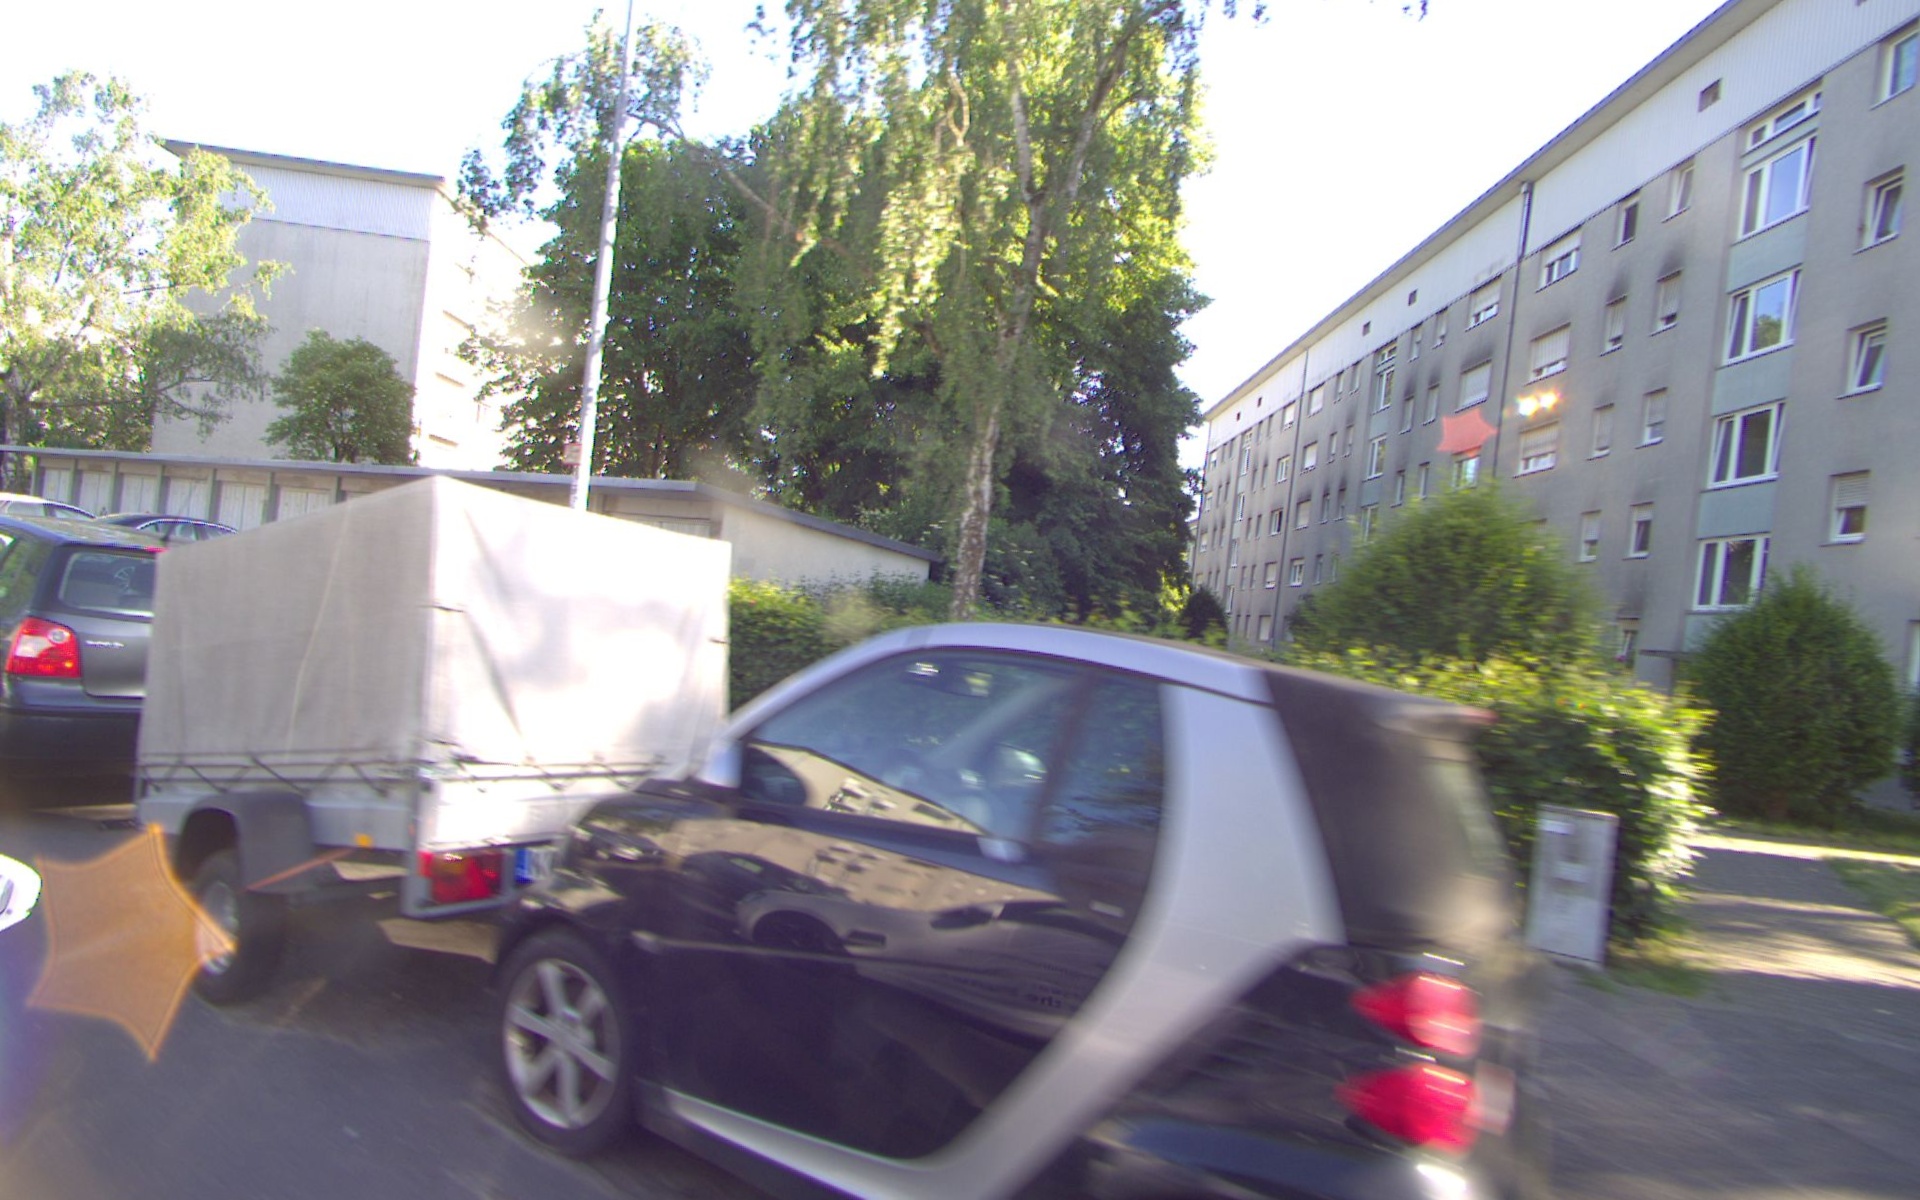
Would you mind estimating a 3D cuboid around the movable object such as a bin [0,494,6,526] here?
[{"bbox_3d":[-42.613,-4.018,43.632,1.255,1.369,1.259,7,-1,20],"label":"movable object such as a bin"}]

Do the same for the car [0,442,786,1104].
[{"bbox_3d":[-2.253,0.432,3.983,2.539,1.738,1.492,7,-2,30],"label":"car"}]

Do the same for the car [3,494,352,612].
[{"bbox_3d":[-13.730,-0.756,17.975,1.798,1.532,4.517,7,0,32],"label":"car"}]

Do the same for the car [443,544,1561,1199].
[{"bbox_3d":[0.047,0.791,2.733,2.517,1.541,1.417,6,-2,35],"label":"car"}]

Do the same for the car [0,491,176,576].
[{"bbox_3d":[-20.476,-1.542,22.345,1.798,1.532,4.420,7,0,31],"label":"car"}]

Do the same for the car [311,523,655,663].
[{"bbox_3d":[-6.433,-0.004,14.025,1.797,1.532,3.949,7,0,28],"label":"car"}]

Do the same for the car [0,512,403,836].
[{"bbox_3d":[-5.480,0.238,6.142,3.828,1.419,1.736,7,-2,28],"label":"car"}]

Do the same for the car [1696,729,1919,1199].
[{"bbox_3d":[3.223,1.165,0.440,4.423,1.506,1.737,7,-3,28],"label":"car"}]
